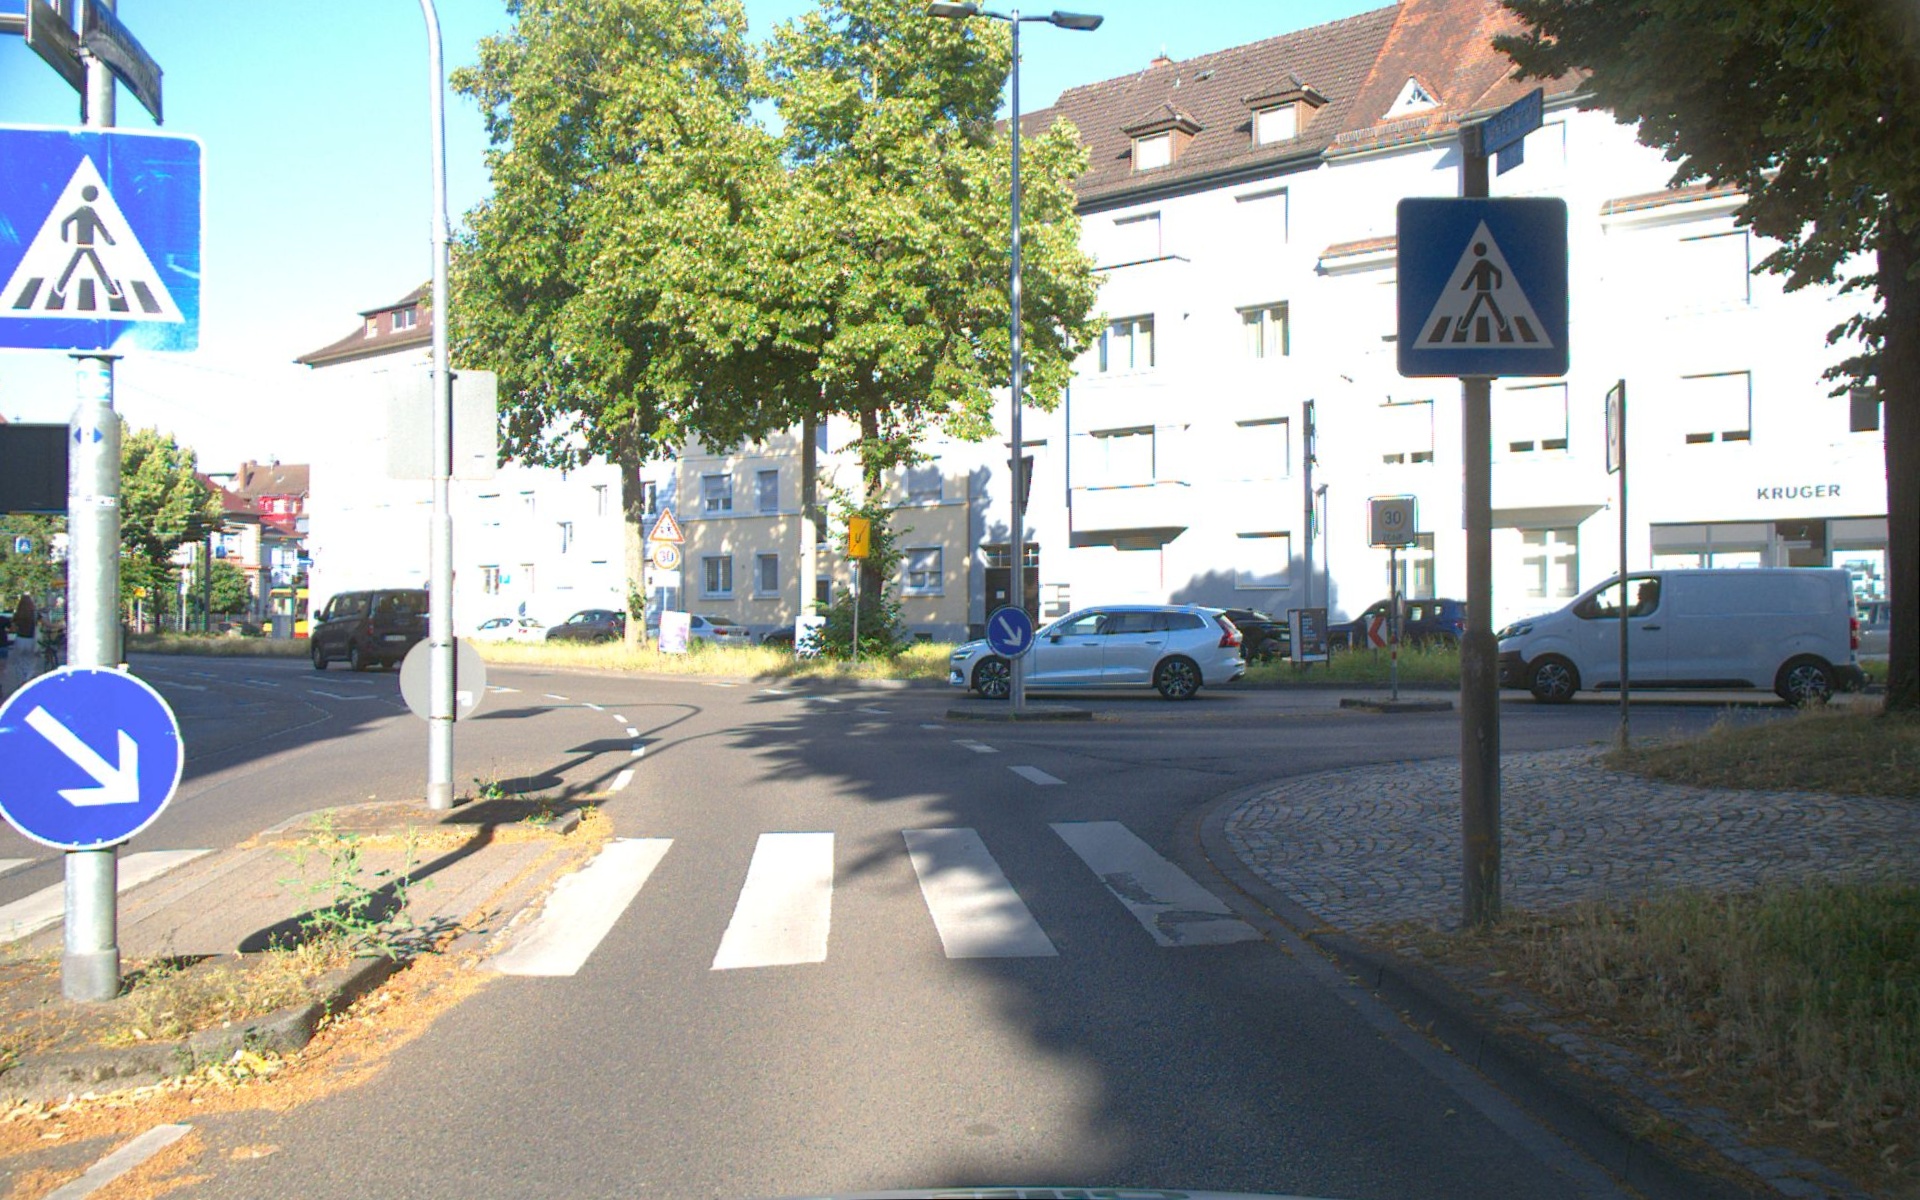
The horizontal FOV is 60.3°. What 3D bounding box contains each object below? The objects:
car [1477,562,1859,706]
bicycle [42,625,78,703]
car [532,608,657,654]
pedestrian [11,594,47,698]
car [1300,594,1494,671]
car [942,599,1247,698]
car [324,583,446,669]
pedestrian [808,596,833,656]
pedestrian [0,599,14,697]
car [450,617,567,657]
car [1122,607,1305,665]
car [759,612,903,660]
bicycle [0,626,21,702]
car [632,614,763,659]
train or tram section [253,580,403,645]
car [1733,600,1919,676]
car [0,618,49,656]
[{"bbox_3d":[9.896,0.448,23.470,4.785,1.887,2.000,0,0,21],"label":"car"},{"bbox_3d":[-14.842,1.032,27.291,0.435,1.199,1.950,1,0,-27],"label":"bicycle"},{"bbox_3d":[-13.250,1.128,59.802,4.552,1.599,1.991,-1,-1,38],"label":"car"},{"bbox_3d":[-15.291,0.742,27.170,0.468,1.676,0.597,-1,0,-26],"label":"pedestrian"},{"bbox_3d":[10.559,0.738,40.098,4.128,1.779,1.991,0,0,38],"label":"car"},{"bbox_3d":[2.159,0.729,26.168,4.655,1.489,1.856,0,0,9],"label":"car"},{"bbox_3d":[-14.426,0.651,41.402,1.975,2.049,3.953,1,-1,-33],"label":"car"},{"bbox_3d":[-4.806,0.880,56.911,0.637,2.049,0.611,-1,-1,38],"label":"pedestrian"},{"bbox_3d":[-15.732,0.778,26.967,0.468,1.592,0.597,-1,0,-26],"label":"pedestrian"},{"bbox_3d":[-17.236,1.377,63.079,4.356,1.411,1.993,0,0,35],"label":"car"},{"bbox_3d":[6.587,0.899,43.227,4.360,1.411,1.991,0,0,38],"label":"car"},{"bbox_3d":[-4.064,1.104,51.838,4.360,1.411,1.991,0,0,38],"label":"car"},{"bbox_3d":[-15.722,1.029,27.071,0.371,1.187,1.823,3,-2,-24],"label":"bicycle"},{"bbox_3d":[-8.948,1.213,56.223,4.360,1.411,1.991,0,0,38],"label":"car"},{"bbox_3d":[-37.158,0.756,97.751,2.717,3.618,9.924,0,-1,18],"label":"train or tram section"},{"bbox_3d":[18.216,0.738,33.847,4.019,1.478,1.991,0,0,39],"label":"car"},{"bbox_3d":[-39.280,1.521,68.929,1.942,1.531,3.640,-1,0,-34],"label":"car"}]
